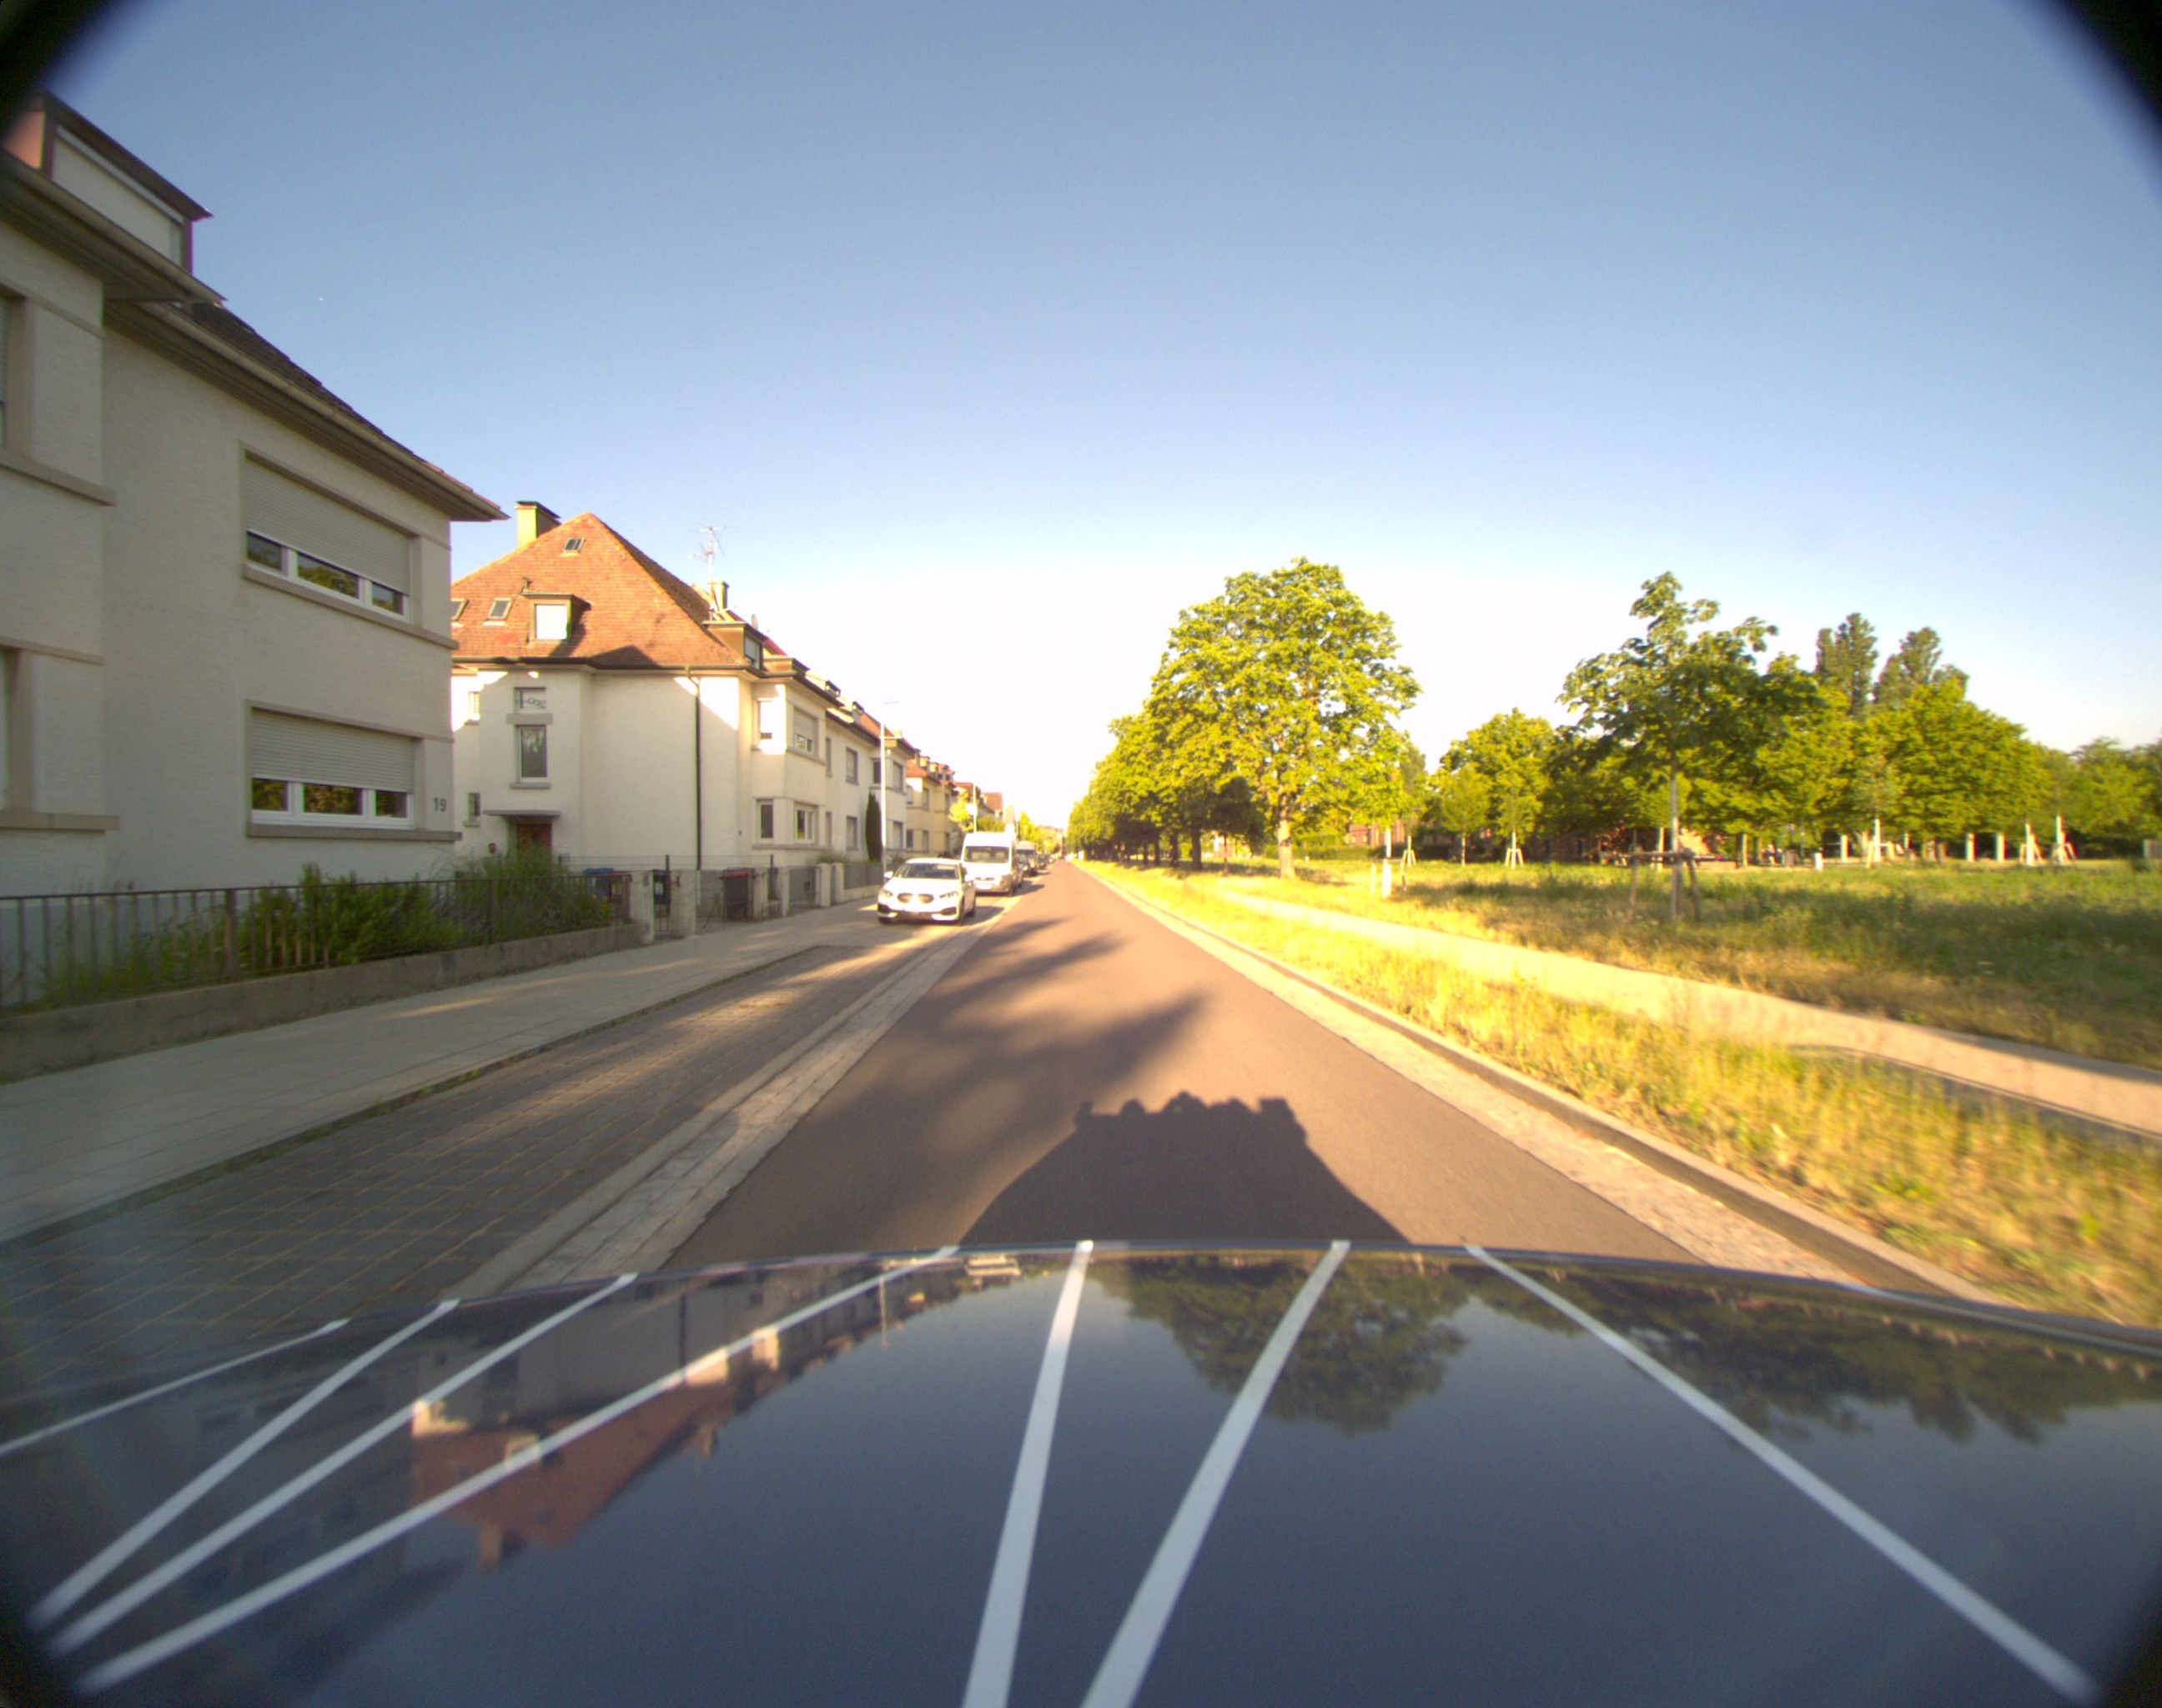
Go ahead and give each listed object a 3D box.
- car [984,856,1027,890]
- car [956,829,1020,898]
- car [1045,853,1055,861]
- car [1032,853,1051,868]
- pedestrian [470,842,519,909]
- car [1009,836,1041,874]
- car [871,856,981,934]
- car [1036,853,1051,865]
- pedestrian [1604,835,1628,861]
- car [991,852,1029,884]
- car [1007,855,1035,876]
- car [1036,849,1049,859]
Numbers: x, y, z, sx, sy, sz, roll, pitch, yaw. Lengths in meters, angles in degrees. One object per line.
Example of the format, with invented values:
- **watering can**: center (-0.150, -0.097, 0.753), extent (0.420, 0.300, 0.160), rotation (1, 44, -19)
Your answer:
- **car**: center (-3.601, 0.862, 36.629), extent (1.626, 1.474, 4.107), rotation (-1, 0, 0)
- **car**: center (-3.621, 0.341, 30.480), extent (2.135, 2.503, 5.506), rotation (0, 0, -3)
- **car**: center (-6.836, 0.603, 166.266), extent (1.974, 1.630, 3.999), rotation (-1, 0, -1)
- **car**: center (-4.539, 0.722, 87.720), extent (1.974, 1.630, 3.999), rotation (1, 0, -1)
- **pedestrian**: center (-15.844, 0.575, 20.541), extent (0.696, 1.750, 0.714), rotation (-1, 1, -2)
- **car**: center (-4.440, 0.097, 61.311), extent (2.135, 2.837, 5.986), rotation (-1, 0, -1)
- **car**: center (-3.458, 0.852, 17.728), extent (1.787, 1.498, 4.232), rotation (2, 0, -2)
- **car**: center (-5.307, 0.650, 107.247), extent (1.974, 1.630, 3.999), rotation (1, 0, -1)
- **pedestrian**: center (39.500, -0.453, 56.113), extent (1.115, 1.852, 0.984), rotation (-1, 1, 5)
- **car**: center (-3.849, 0.717, 41.769), extent (1.782, 1.635, 4.479), rotation (0, 0, -2)
- **car**: center (-4.334, 0.808, 55.315), extent (1.630, 1.431, 4.004), rotation (-1, 1, 0)
- **car**: center (-6.536, -0.041, 127.853), extent (1.974, 1.630, 3.999), rotation (-1, 0, -1)
